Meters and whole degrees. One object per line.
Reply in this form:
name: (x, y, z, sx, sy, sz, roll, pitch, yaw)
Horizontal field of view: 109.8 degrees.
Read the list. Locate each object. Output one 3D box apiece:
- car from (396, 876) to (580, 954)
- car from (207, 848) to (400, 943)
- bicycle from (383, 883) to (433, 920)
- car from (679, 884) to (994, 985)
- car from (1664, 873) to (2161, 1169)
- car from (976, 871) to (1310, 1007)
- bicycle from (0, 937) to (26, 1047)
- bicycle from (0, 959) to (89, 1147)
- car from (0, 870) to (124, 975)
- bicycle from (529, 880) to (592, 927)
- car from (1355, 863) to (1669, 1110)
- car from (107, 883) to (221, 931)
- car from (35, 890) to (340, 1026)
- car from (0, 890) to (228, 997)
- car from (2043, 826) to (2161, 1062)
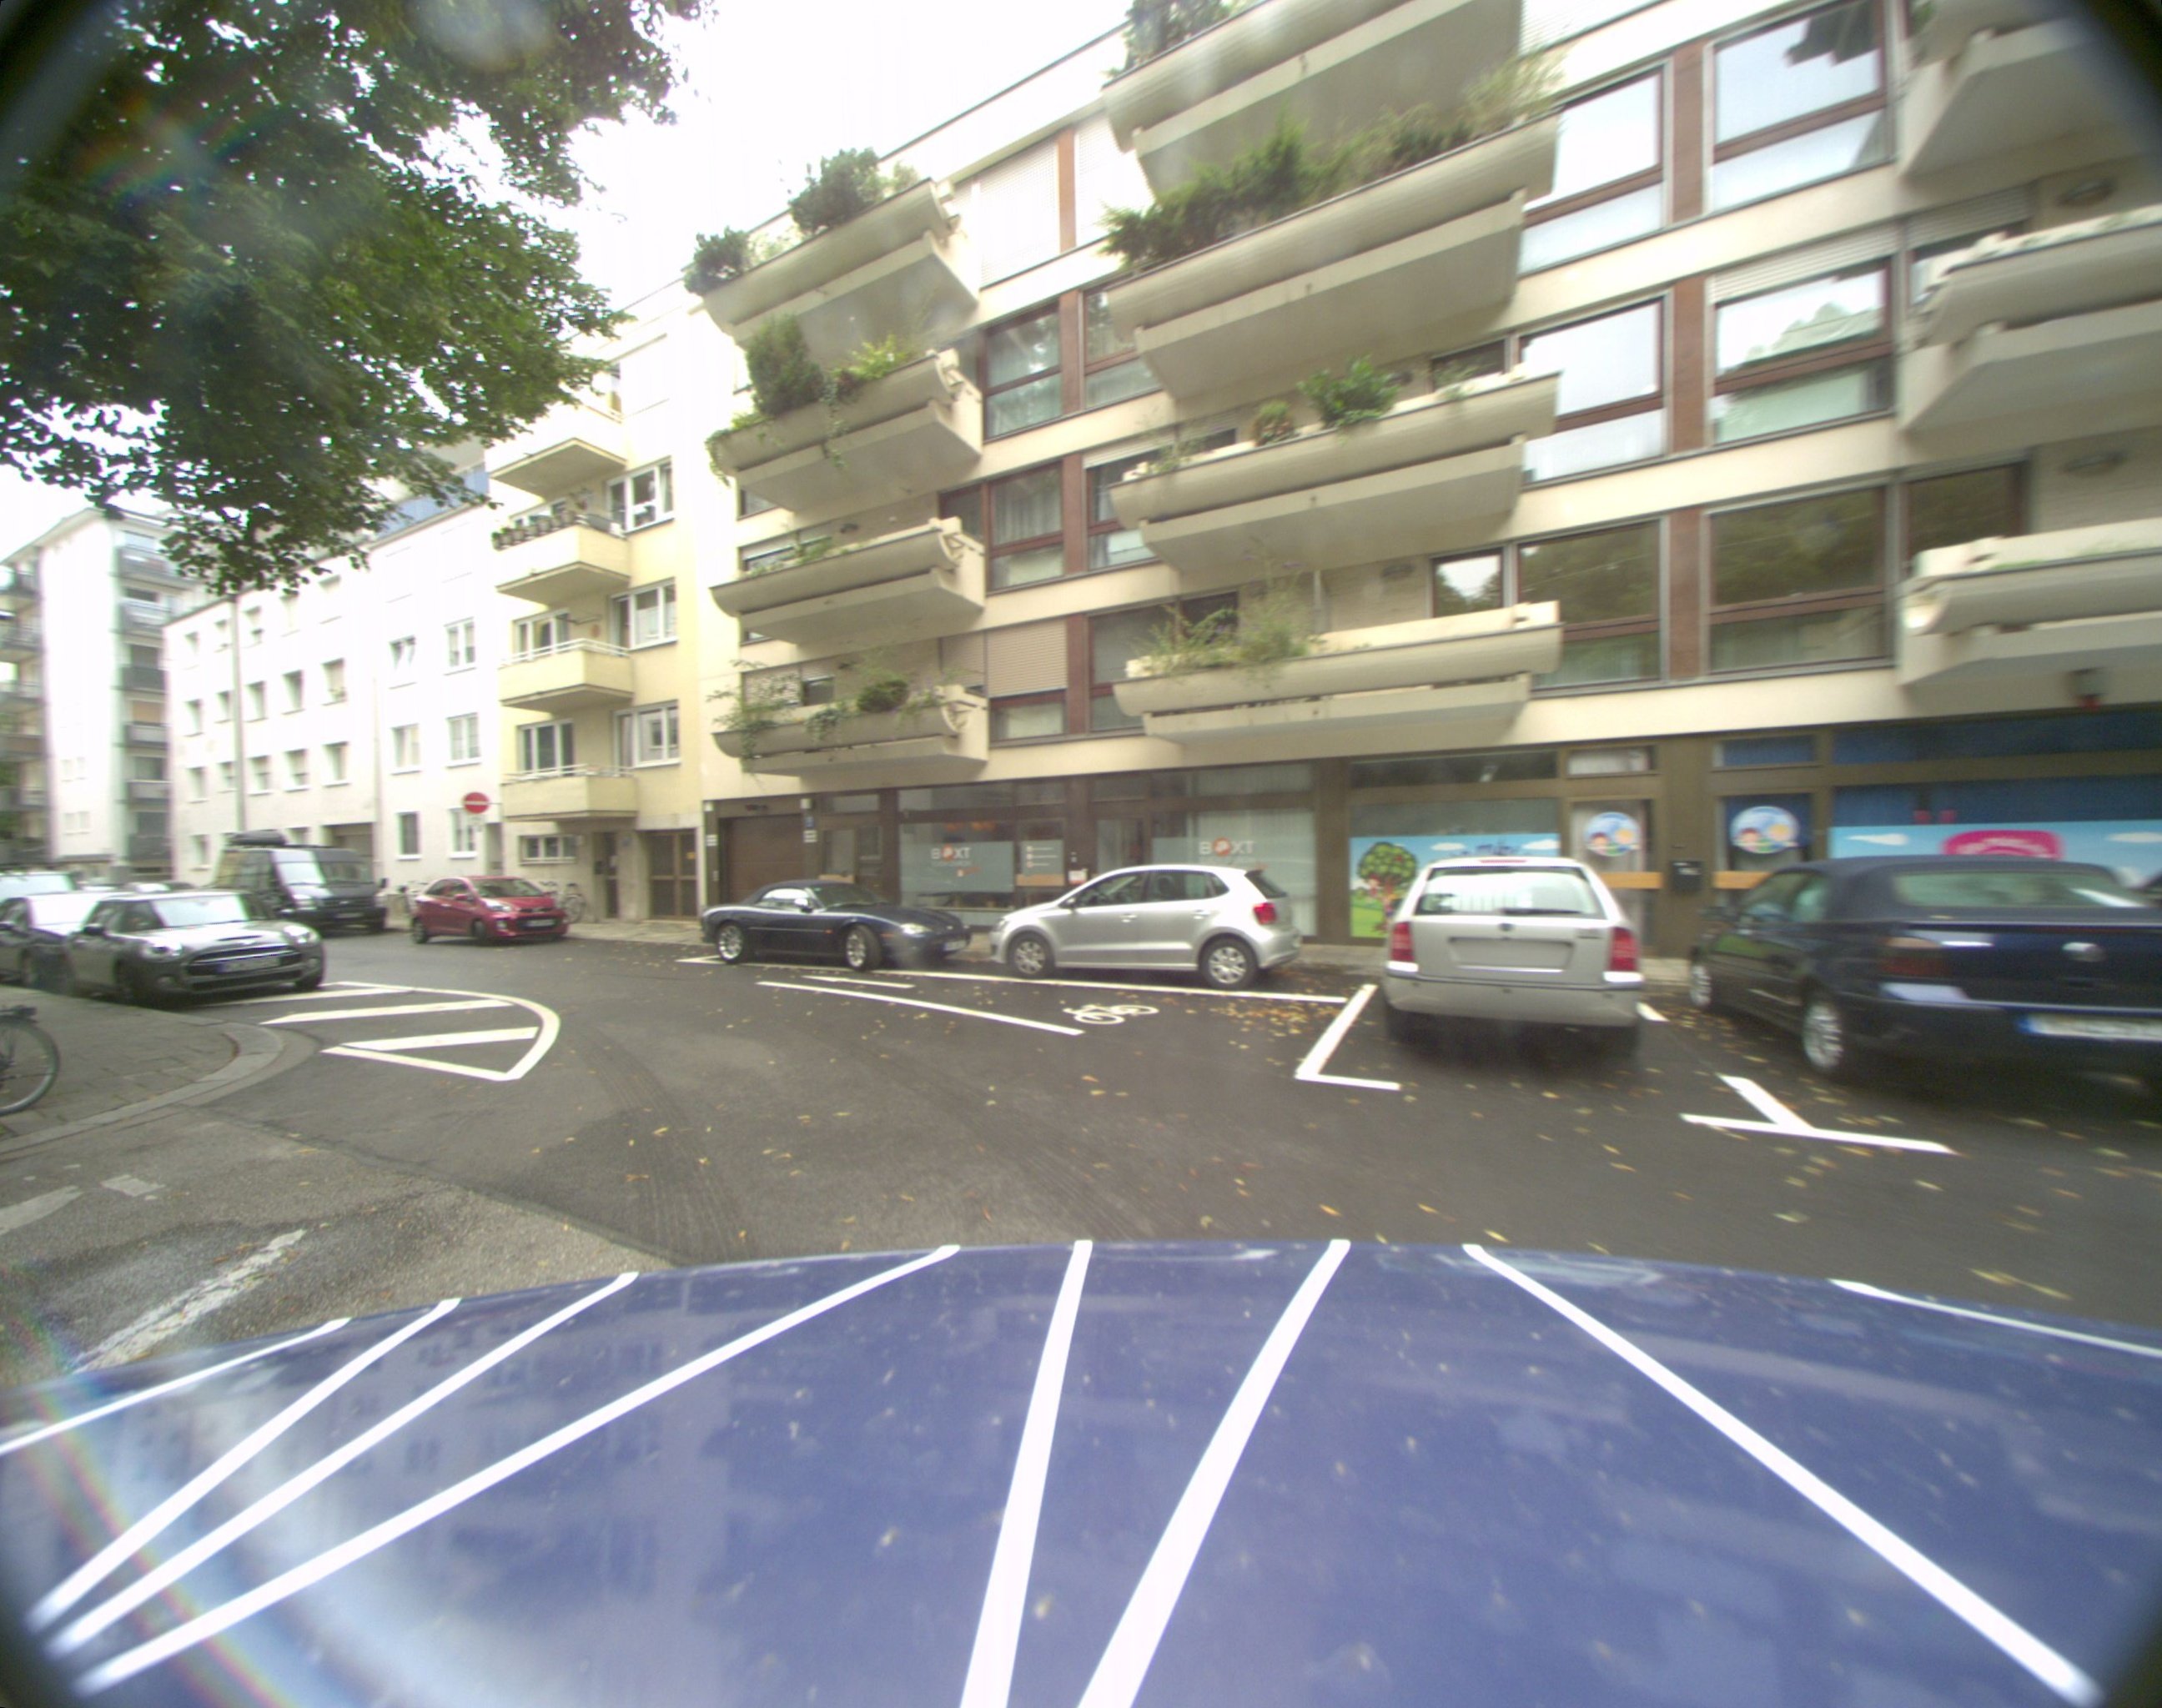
car: (-12.975, 1.271, 16.631, 3.699, 1.488, 1.627, -1, 1, 25)
car: (-20.783, 1.037, 20.285, 5.376, 2.265, 2.029, -1, -1, 26)
bicycle: (-20.837, 1.465, 23.516, 1.865, 1.091, 0.465, -1, 2, 27)
car: (-3.798, 1.124, 11.667, 4.605, 1.270, 1.806, -1, -1, 26)
car: (5.833, 0.848, 5.524, 1.713, 1.359, 4.080, -1, -1, 26)
car: (0.757, 0.944, 9.482, 3.824, 1.413, 1.569, -1, -1, 25)
bicycle: (-11.270, 1.382, 7.088, 1.636, 1.050, 0.450, -2, 2, -22)
bicycle: (-7.142, 1.322, 4.420, 0.554, 1.131, 1.771, -2, 1, -9)
car: (-20.920, 1.251, 14.706, 4.770, 1.781, 1.884, -1, 1, 25)
bicycle: (-13.308, 1.243, 19.418, 1.755, 1.142, 0.469, -1, 2, 27)
car: (3.586, 0.847, 6.747, 1.717, 1.446, 4.250, -1, -2, 26)
car: (-30.073, 1.700, 24.906, 3.733, 1.437, 1.620, -1, -1, 27)
car: (-12.127, 1.257, 10.292, 3.990, 1.432, 1.752, -1, 1, 27)
car: (-16.244, 1.357, 12.483, 4.048, 1.411, 1.842, -1, 1, 25)
car: (8.098, 0.600, 4.065, 1.898, 1.673, 4.242, -1, -1, 24)
